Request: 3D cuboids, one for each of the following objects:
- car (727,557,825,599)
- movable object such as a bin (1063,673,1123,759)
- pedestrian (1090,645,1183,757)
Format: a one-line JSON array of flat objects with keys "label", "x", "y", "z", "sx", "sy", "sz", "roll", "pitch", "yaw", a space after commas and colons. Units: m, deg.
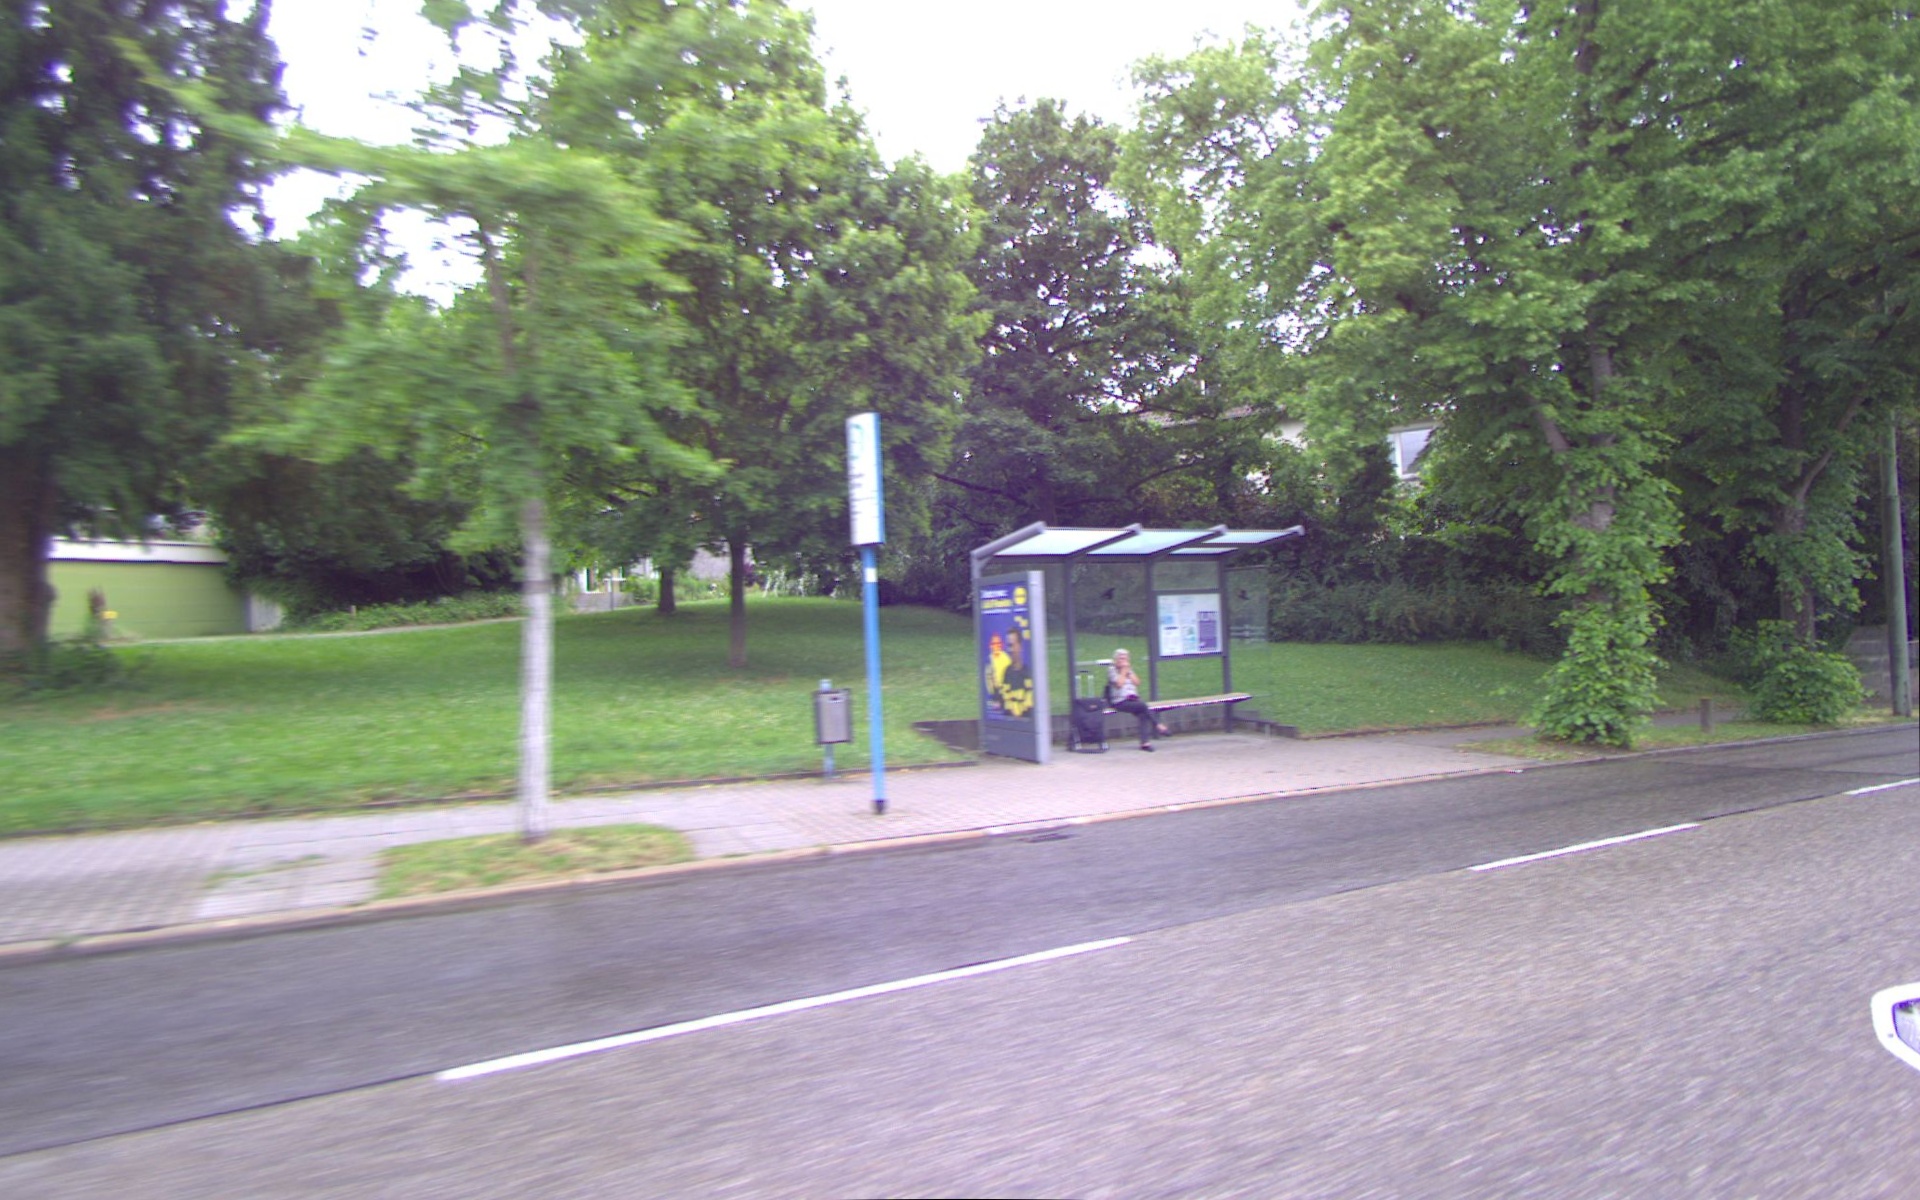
[{"label": "car", "x": -7.563, "y": -0.853, "z": 41.155, "sx": 3.848, "sy": 1.505, "sz": 1.928, "roll": -2, "pitch": -2, "yaw": 38}, {"label": "movable object such as a bin", "x": 1.787, "y": 1.544, "z": 13.579, "sx": 0.492, "sy": 1.057, "sz": 0.760, "roll": 0, "pitch": 1, "yaw": -23}, {"label": "pedestrian", "x": 2.430, "y": 1.363, "z": 13.921, "sx": 0.905, "sy": 1.422, "sz": 0.935, "roll": 0, "pitch": 1, "yaw": -23}]
